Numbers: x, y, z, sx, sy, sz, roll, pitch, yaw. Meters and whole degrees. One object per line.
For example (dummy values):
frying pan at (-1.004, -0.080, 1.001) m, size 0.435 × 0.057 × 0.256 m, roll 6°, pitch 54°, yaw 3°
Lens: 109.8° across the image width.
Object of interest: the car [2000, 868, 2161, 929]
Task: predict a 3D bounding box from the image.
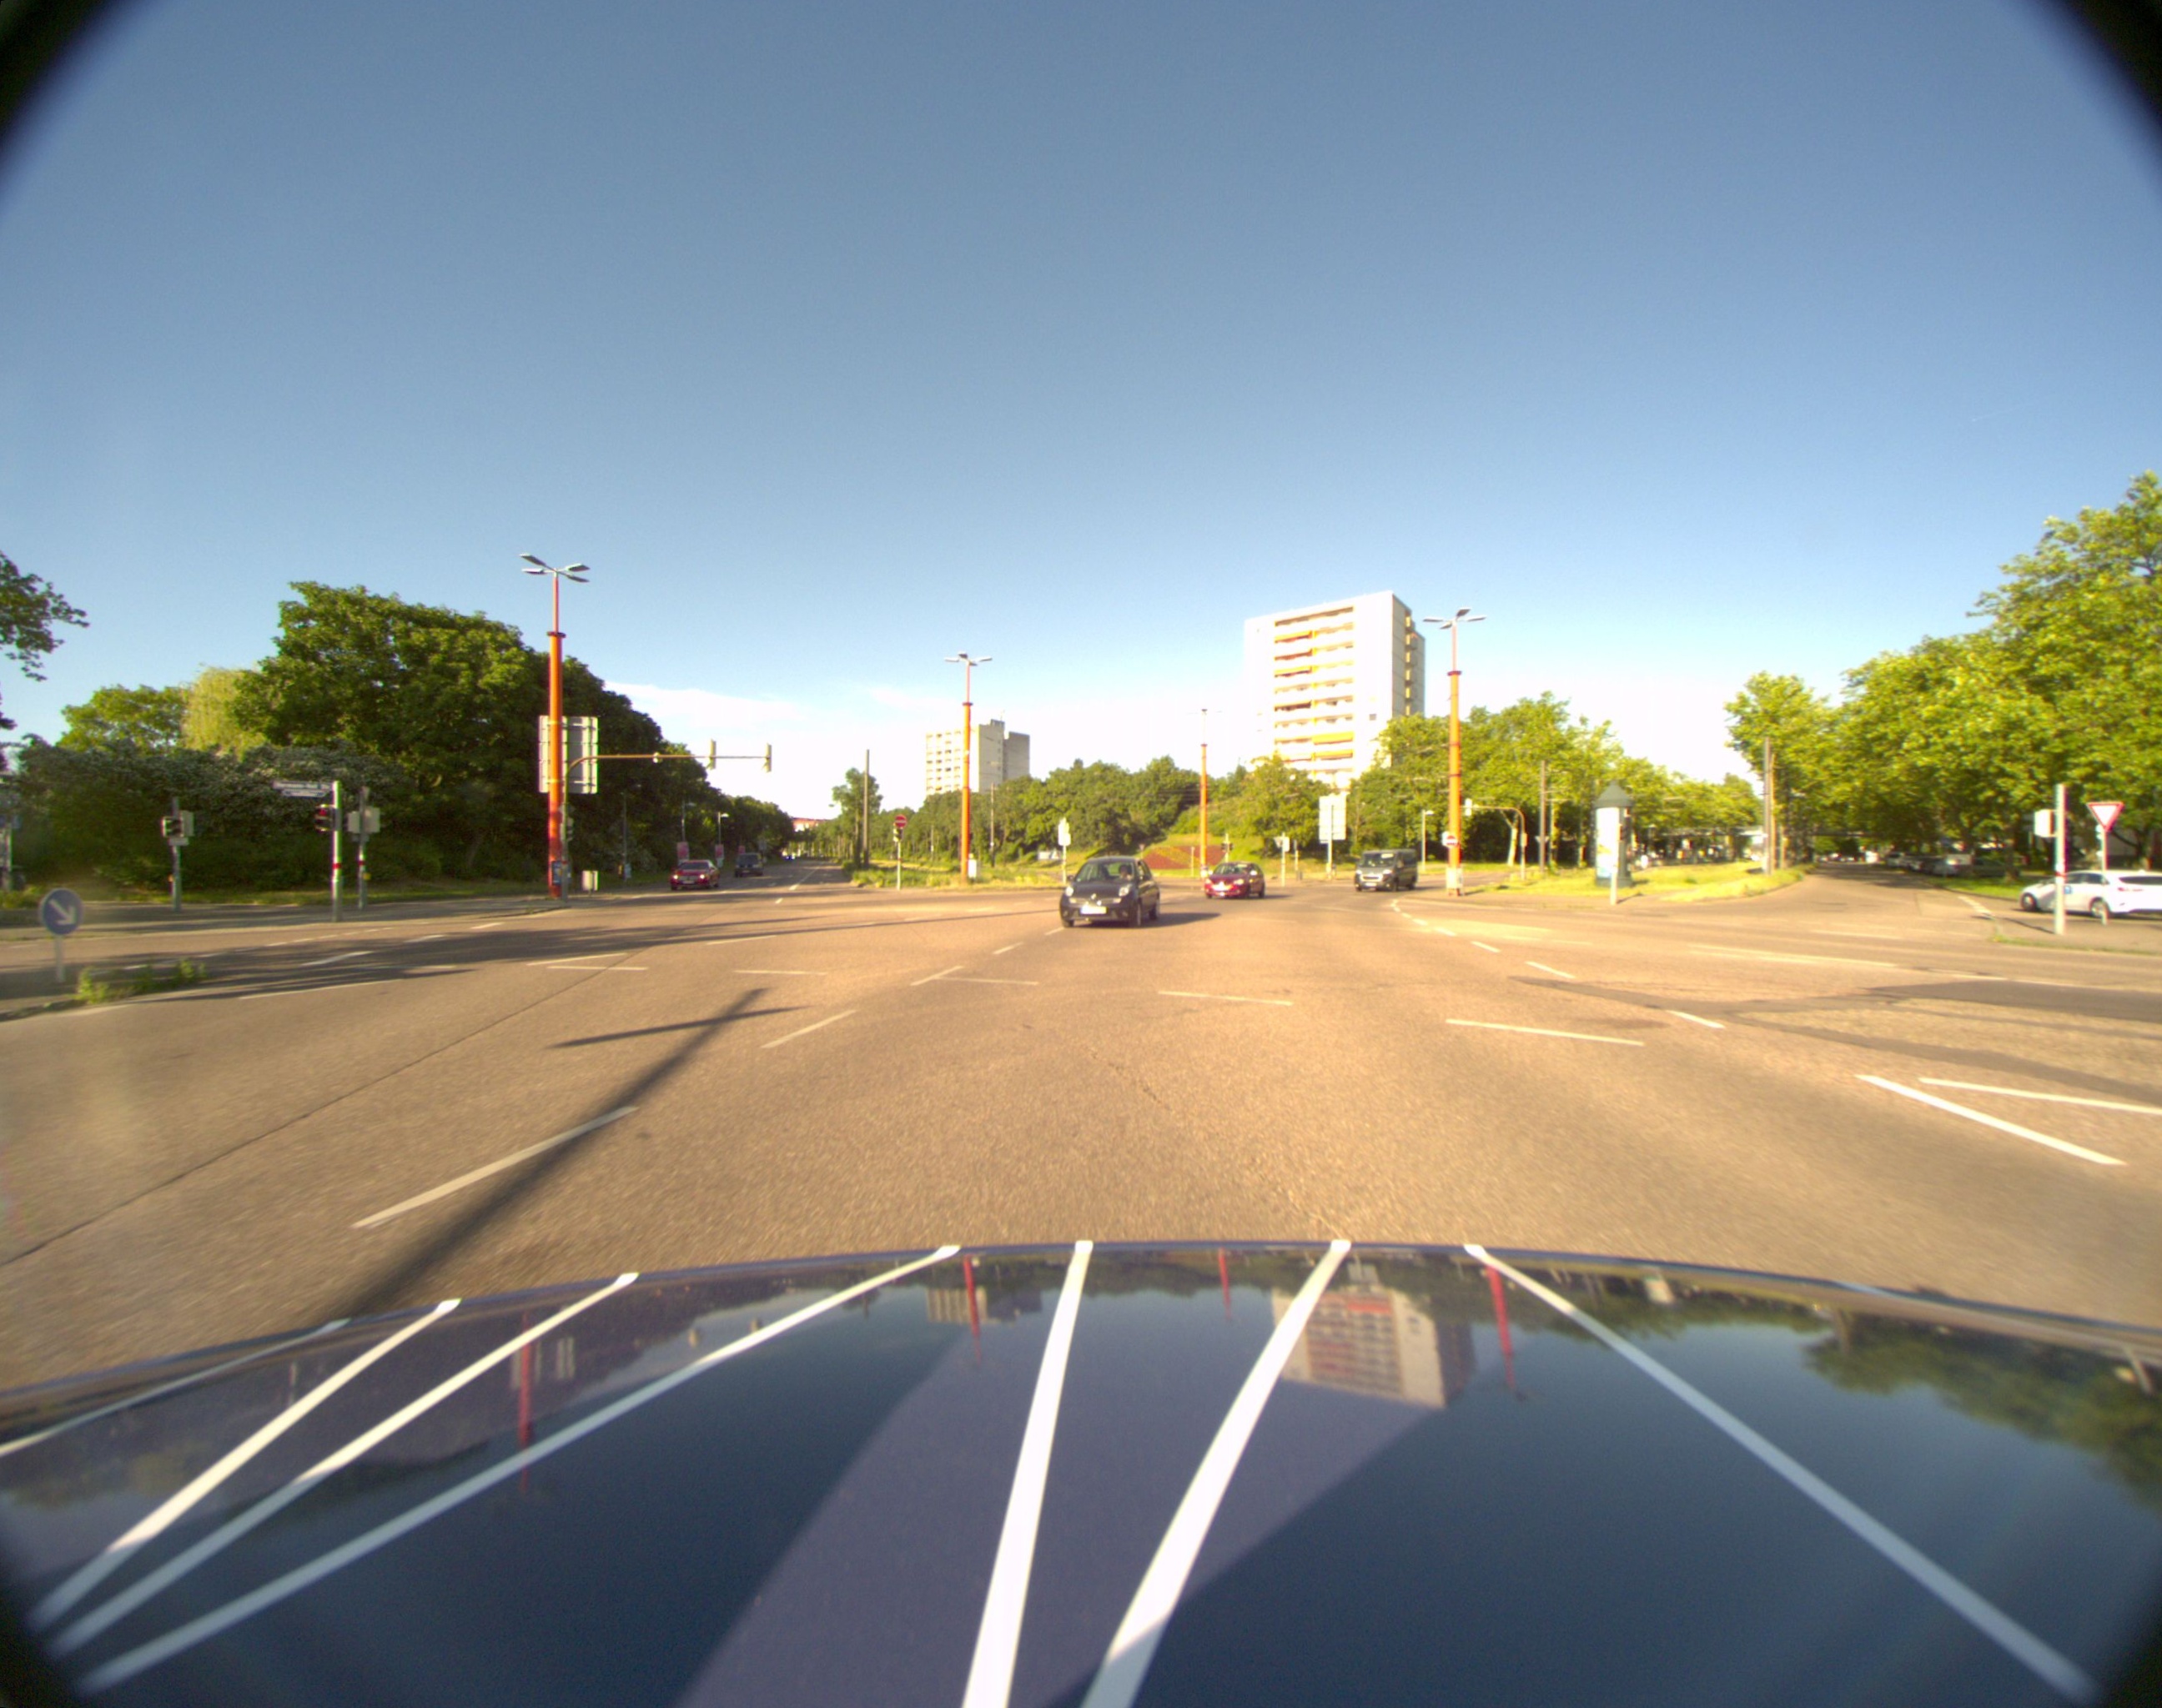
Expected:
car at (31.272, 1.314, 23.437) m, size 1.899 × 1.542 × 4.267 m, roll 2°, pitch 1°, yaw 23°

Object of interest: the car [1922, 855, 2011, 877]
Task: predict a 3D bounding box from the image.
car at (62.299, 0.861, 53.506) m, size 4.045 × 1.478 × 1.815 m, roll -1°, pitch -1°, yaw 3°

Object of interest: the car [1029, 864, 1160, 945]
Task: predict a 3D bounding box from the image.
car at (0.469, 0.961, 16.519) m, size 1.737 × 1.474 × 4.628 m, roll 0°, pitch 0°, yaw 16°

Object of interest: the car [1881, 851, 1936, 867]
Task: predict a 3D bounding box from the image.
car at (100.411, 0.605, 92.220) m, size 4.428 × 1.907 × 2.022 m, roll -1°, pitch -1°, yaw 2°

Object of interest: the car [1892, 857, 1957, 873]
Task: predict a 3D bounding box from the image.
car at (81.563, 1.090, 73.516) m, size 4.045 × 1.490 × 1.796 m, roll -1°, pitch -1°, yaw 5°

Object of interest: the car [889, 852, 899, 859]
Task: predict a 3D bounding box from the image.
car at (-45.374, 0.356, 184.196) m, size 2.002 × 1.694 × 4.685 m, roll -1°, pitch 0°, yaw -19°

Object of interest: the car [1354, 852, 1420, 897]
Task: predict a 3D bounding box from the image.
car at (16.454, 1.004, 40.652) m, size 2.035 × 2.191 × 5.673 m, roll 0°, pitch 0°, yaw 35°

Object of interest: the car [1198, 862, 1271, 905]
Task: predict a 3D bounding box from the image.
car at (6.199, 1.098, 30.274) m, size 1.769 × 1.549 × 4.735 m, roll 0°, pitch 0°, yaw 26°

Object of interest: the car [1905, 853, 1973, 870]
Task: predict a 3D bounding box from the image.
car at (79.305, 0.694, 70.303) m, size 4.045 × 1.490 × 1.796 m, roll -1°, pitch -1°, yaw 5°

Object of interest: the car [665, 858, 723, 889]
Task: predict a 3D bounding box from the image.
car at (-19.682, 0.930, 38.835) m, size 2.002 × 1.486 × 4.282 m, roll 0°, pitch 0°, yaw -18°

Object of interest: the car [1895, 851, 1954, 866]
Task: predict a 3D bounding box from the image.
car at (87.052, 0.497, 78.478) m, size 4.046 × 1.490 × 1.796 m, roll -1°, pitch -1°, yaw 2°

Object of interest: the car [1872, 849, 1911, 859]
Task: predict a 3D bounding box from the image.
car at (123.816, 0.038, 116.073) m, size 4.046 × 1.490 × 1.796 m, roll -1°, pitch -1°, yaw 2°

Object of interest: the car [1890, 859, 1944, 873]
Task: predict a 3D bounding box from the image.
car at (93.785, 1.366, 85.253) m, size 4.046 × 1.490 × 1.796 m, roll -1°, pitch -1°, yaw 2°

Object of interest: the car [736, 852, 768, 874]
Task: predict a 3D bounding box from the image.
car at (-27.468, 0.711, 63.528) m, size 2.002 × 1.722 × 4.811 m, roll 0°, pitch 0°, yaw -18°

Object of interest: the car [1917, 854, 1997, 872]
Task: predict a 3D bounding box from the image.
car at (67.018, 0.702, 58.185) m, size 4.045 × 1.379 × 1.678 m, roll -1°, pitch -1°, yaw 3°
